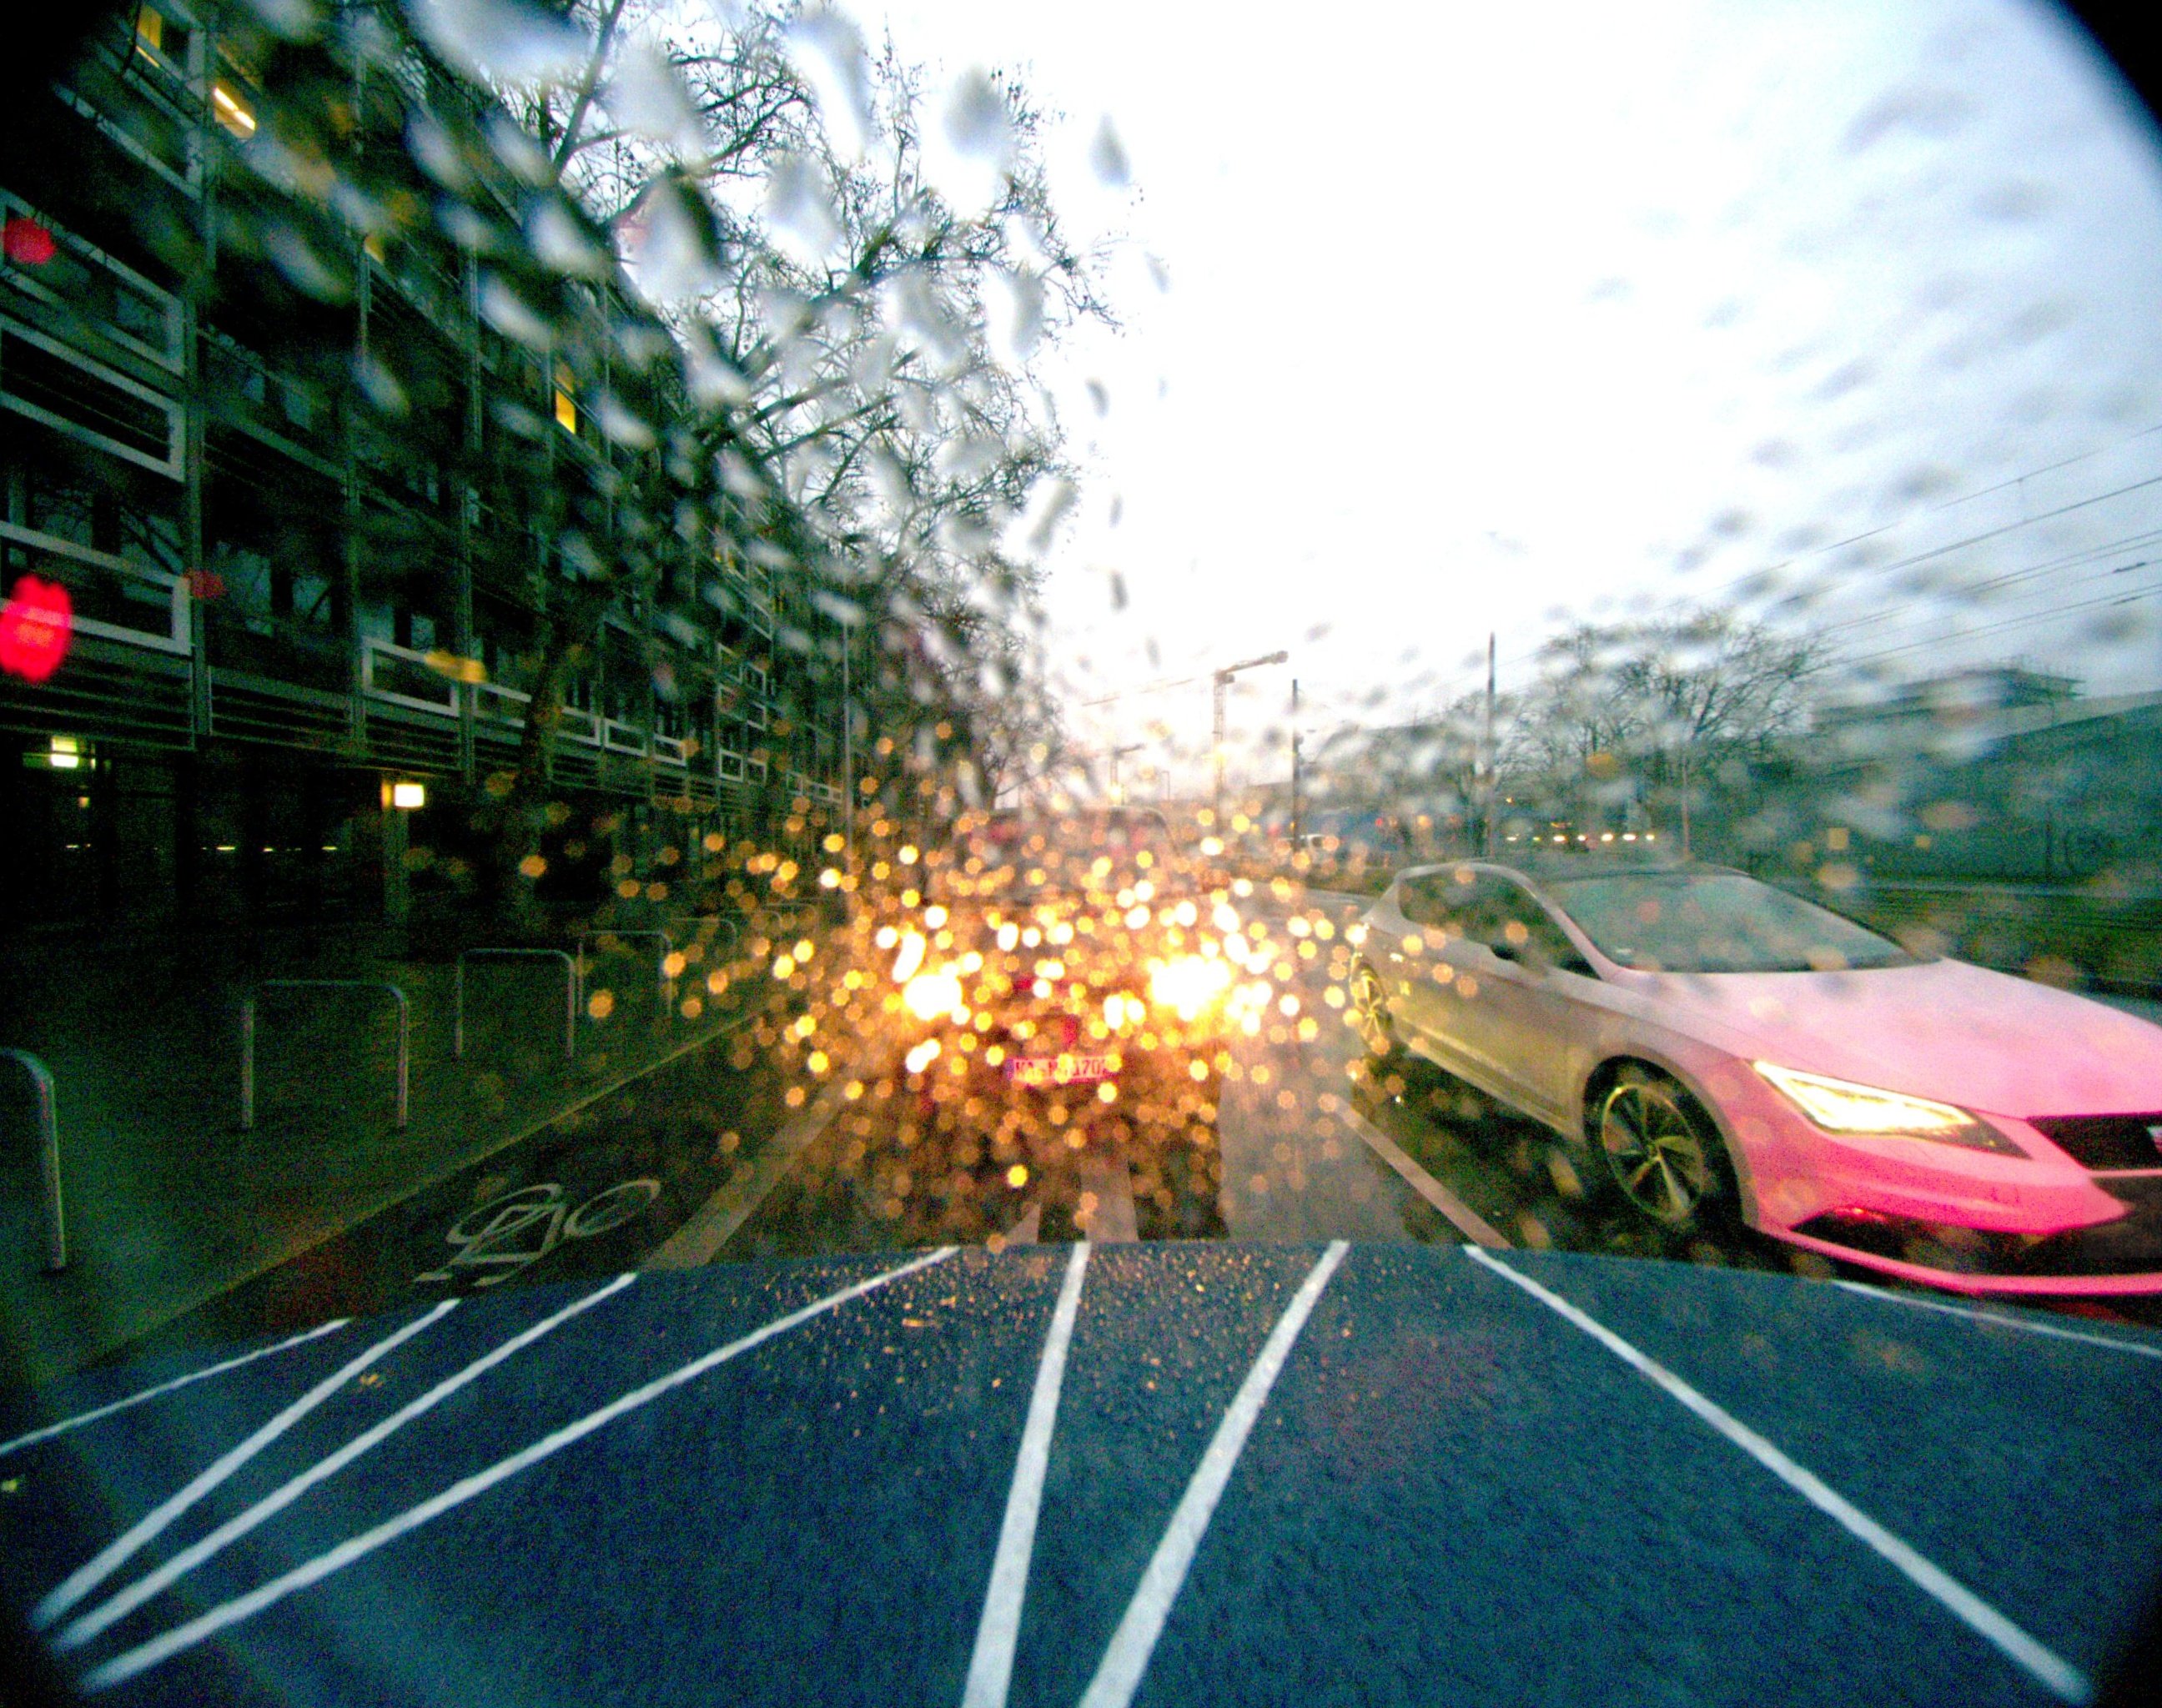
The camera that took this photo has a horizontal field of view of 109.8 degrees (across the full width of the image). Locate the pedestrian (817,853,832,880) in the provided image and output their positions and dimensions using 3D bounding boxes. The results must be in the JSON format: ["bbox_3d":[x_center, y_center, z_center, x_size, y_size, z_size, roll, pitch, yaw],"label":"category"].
[{"bbox_3d":[-12.627,0.611,37.438,0.501,1.361,0.495,0,1,18],"label":"pedestrian"}]

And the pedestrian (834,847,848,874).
[{"bbox_3d":[-14.625,0.409,46.338,0.641,1.645,0.842,-1,1,-4],"label":"pedestrian"}]

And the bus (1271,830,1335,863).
[{"bbox_3d":[26.025,-0.847,89.992,2.815,3.557,12.298,-1,0,-6],"label":"bus"}]

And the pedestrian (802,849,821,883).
[{"bbox_3d":[-13.265,0.563,37.457,0.617,1.647,0.780,-1,1,1],"label":"pedestrian"}]

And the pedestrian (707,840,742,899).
[{"bbox_3d":[-12.218,0.519,26.062,0.822,2.002,0.735,-1,1,-2],"label":"pedestrian"}]

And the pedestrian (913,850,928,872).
[{"bbox_3d":[-11.154,0.510,52.741,0.866,1.515,0.837,-1,1,-2],"label":"pedestrian"}]

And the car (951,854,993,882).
[{"bbox_3d":[-6.172,0.778,43.372,1.608,1.424,3.930,2,1,2],"label":"car"}]

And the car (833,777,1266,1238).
[{"bbox_3d":[-0.108,0.670,5.359,1.858,2.002,4.000,-1,1,1],"label":"car"}]

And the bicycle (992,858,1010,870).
[{"bbox_3d":[-7.206,0.901,68.254,1.523,1.030,0.469,-2,2,-7],"label":"bicycle"}]

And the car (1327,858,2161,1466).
[{"bbox_3d":[2.923,0.791,4.014,1.778,1.466,4.128,0,1,-2],"label":"car"}]

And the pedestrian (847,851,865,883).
[{"bbox_3d":[-10.874,0.630,36.671,0.649,1.535,0.615,0,1,1],"label":"pedestrian"}]

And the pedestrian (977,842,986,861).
[{"bbox_3d":[-10.515,-0.241,80.534,0.791,2.002,1.024,-1,1,0],"label":"pedestrian"}]

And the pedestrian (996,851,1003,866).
[{"bbox_3d":[-11.047,0.658,103.036,0.838,2.002,0.771,-2,2,-1],"label":"pedestrian"}]

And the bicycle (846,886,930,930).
[{"bbox_3d":[-4.451,1.243,17.603,1.792,0.968,0.617,1,1,-4],"label":"bicycle"}]
